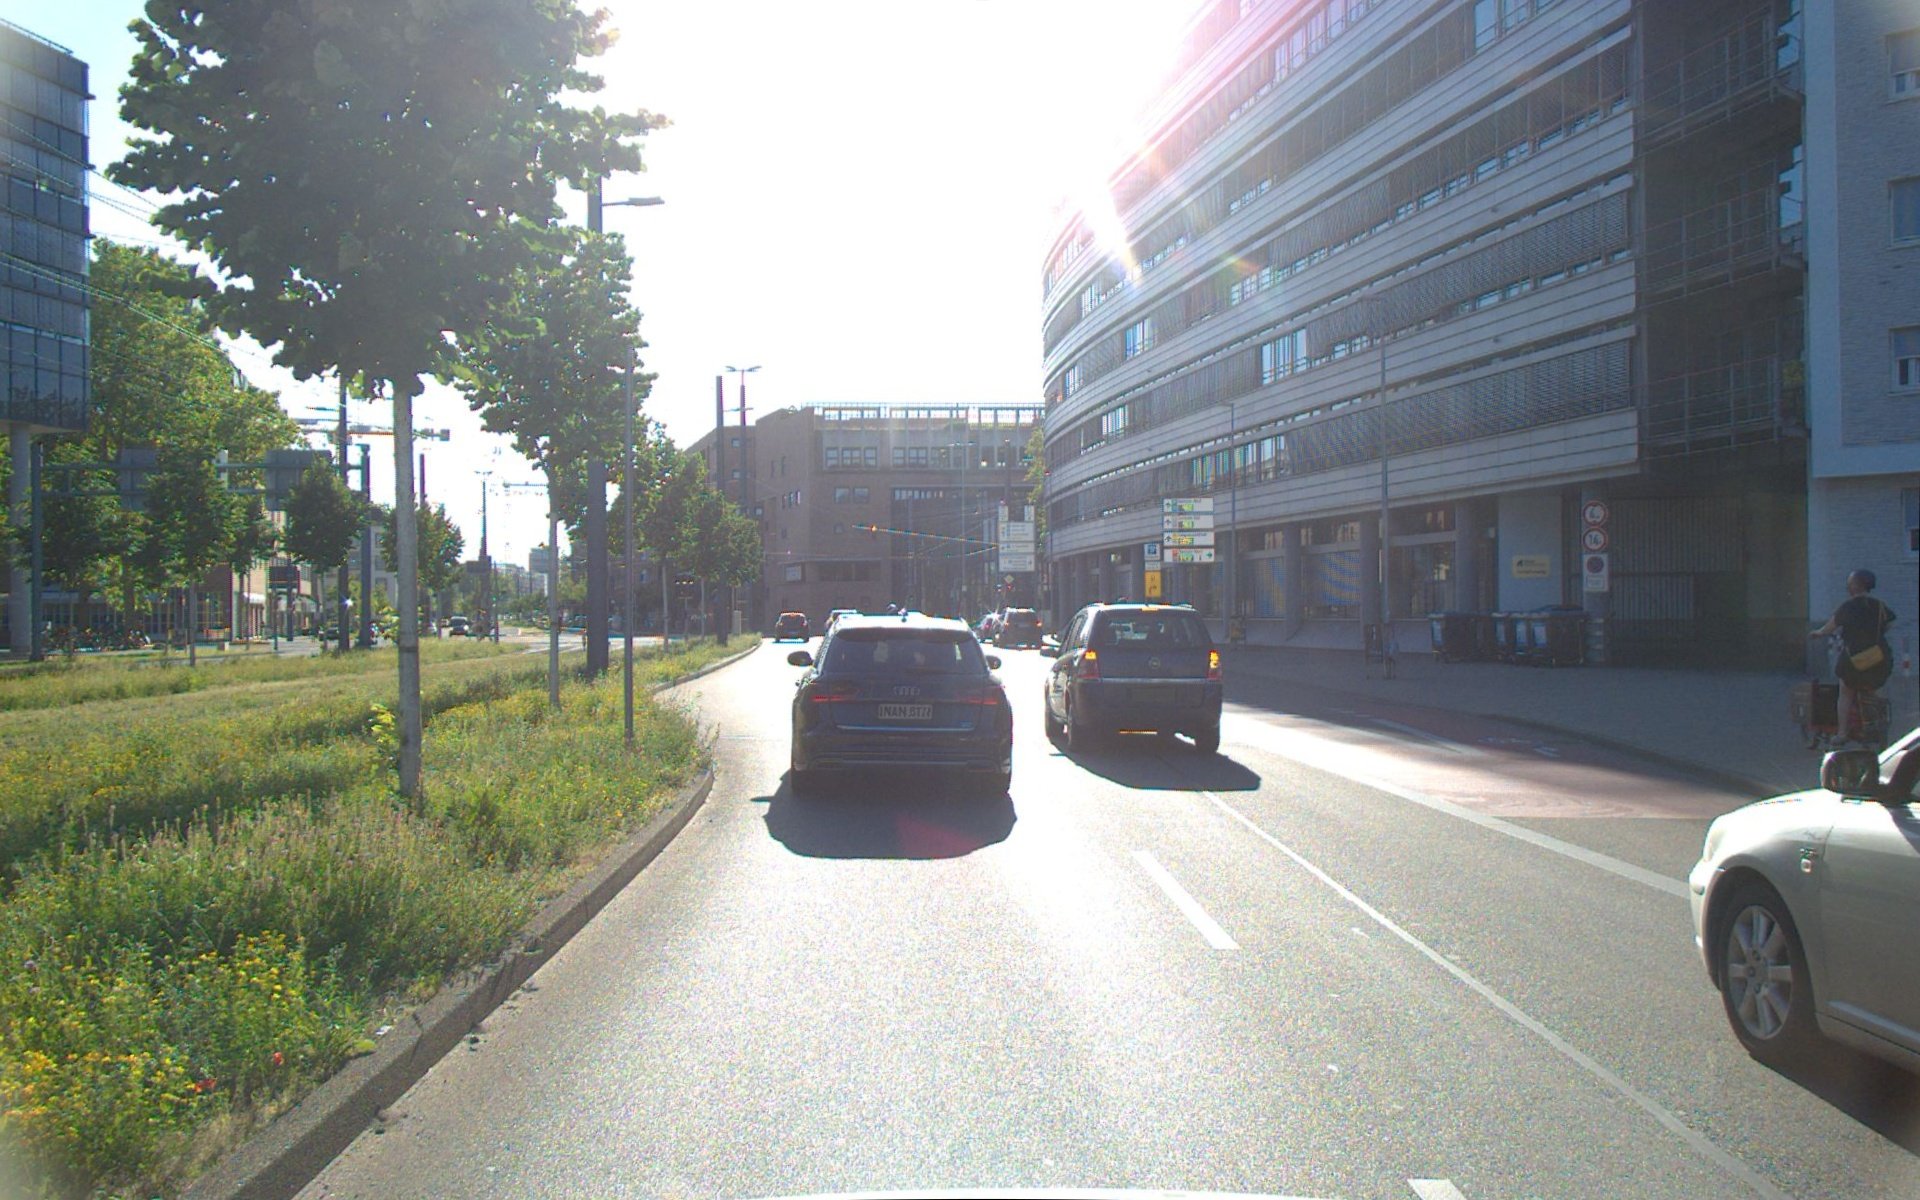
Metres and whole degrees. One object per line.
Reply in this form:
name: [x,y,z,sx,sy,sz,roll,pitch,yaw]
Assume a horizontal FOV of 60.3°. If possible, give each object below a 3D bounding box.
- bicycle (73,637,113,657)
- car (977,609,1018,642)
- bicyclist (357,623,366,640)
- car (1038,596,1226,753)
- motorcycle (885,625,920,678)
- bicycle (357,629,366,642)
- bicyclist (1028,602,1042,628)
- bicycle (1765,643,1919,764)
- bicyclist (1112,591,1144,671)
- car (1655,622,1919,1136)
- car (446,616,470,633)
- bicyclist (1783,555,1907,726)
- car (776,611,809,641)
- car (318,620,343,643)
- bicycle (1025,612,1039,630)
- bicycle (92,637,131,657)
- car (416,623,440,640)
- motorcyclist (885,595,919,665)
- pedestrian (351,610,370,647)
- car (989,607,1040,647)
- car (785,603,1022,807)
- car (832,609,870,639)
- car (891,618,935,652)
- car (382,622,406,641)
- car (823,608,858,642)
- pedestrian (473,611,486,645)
bicycle: [-43.804,2.351,83.574,1.740,0.968,0.538,-1,-1,-22]
car: [1.929,1.308,86.404,1.953,1.680,3.998,-1,0,-2]
bicyclist: [-52.420,2.764,144.881,0.745,1.399,0.946,-1,-1,-18]
car: [1.943,0.813,19.909,1.654,1.657,4.461,-1,-1,-2]
motorcycle: [-1.320,1.150,37.591,0.760,1.135,1.968,-1,0,-3]
bicycle: [-52.516,3.080,145.142,0.639,1.104,2.912,-1,0,-17]
bicyclist: [4.714,0.939,103.541,0.669,1.646,0.992,-1,-1,12]
bicycle: [8.556,0.959,15.999,0.488,1.050,2.206,-1,-1,1]
bicyclist: [3.893,0.716,38.408,0.566,1.822,0.862,-1,-1,-6]
car: [3.617,0.797,4.223,1.715,1.456,4.487,-1,-1,-1]
car: [-46.159,2.284,152.014,1.721,1.531,3.852,-1,0,-23]
bicyclist: [8.506,0.381,15.929,0.611,1.594,1.043,-1,-1,0]
car: [-8.497,1.318,84.216,1.617,1.458,3.996,-1,-1,-5]
car: [-56.480,2.816,148.422,1.964,2.049,3.978,-1,0,-19]
bicycle: [4.515,1.281,103.200,0.493,1.076,1.703,-3,-1,14]
bicycle: [-43.620,2.427,85.027,1.749,0.968,0.535,0,-1,-33]
car: [-49.068,2.923,152.499,1.721,1.531,3.852,-1,0,-23]
motorcyclist: [-1.307,0.667,37.310,0.730,1.557,1.020,-1,-1,-3]
pedestrian: [-32.963,1.563,90.939,0.718,2.049,0.837,1,-1,-2]
car: [2.504,1.258,77.391,1.954,1.780,4.325,-1,0,-4]
car: [-0.452,0.808,14.745,1.774,1.518,4.495,-1,-1,-1]
car: [-5.160,1.119,78.249,1.703,1.373,3.996,-1,-1,-5]
car: [-2.163,1.552,75.113,1.772,1.483,3.995,0,0,-5]
car: [-52.143,2.884,152.387,1.964,1.624,4.712,-2,0,-19]
car: [-6.178,1.278,85.313,1.703,1.680,3.996,-1,-1,-5]
pedestrian: [-26.169,1.521,90.095,0.620,1.862,0.661,-1,-1,-13]
